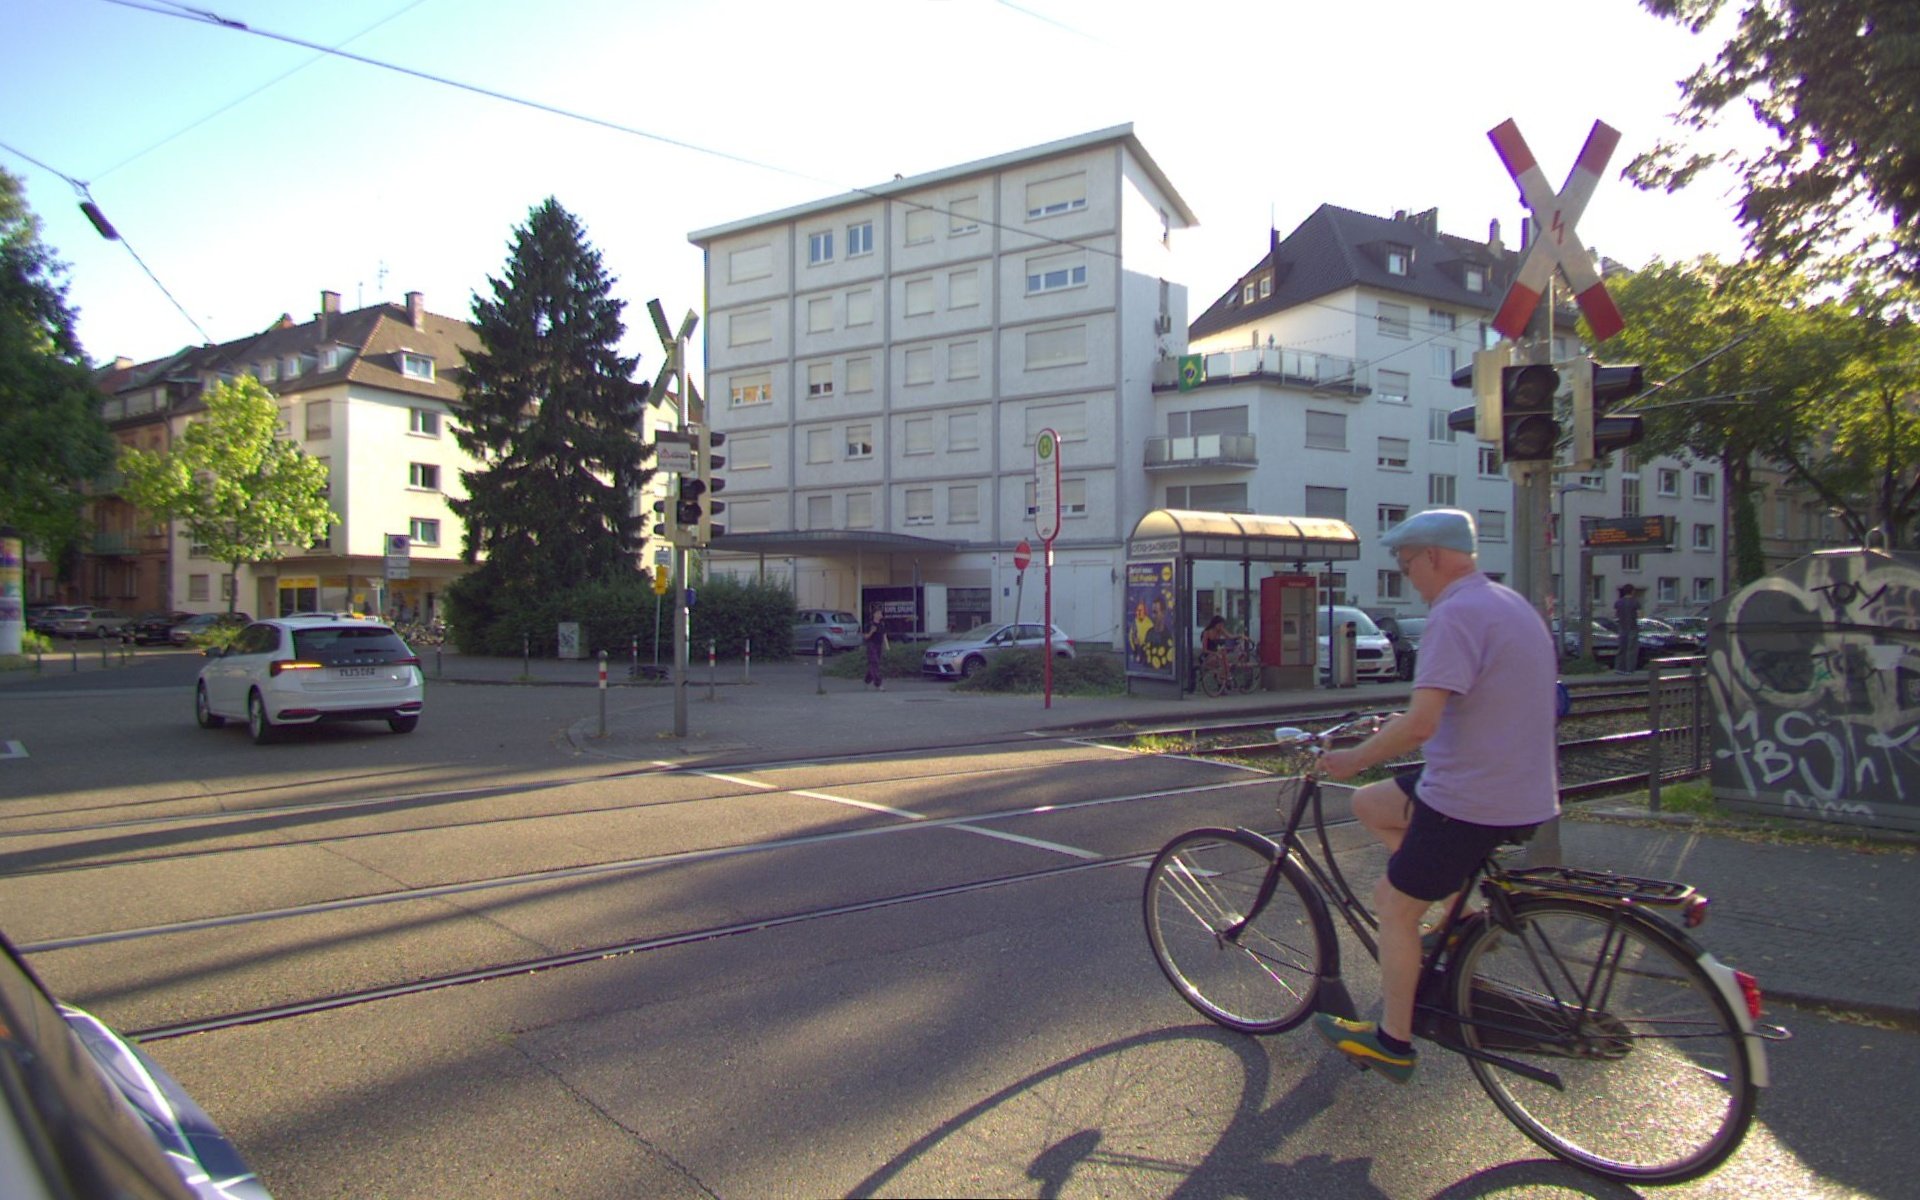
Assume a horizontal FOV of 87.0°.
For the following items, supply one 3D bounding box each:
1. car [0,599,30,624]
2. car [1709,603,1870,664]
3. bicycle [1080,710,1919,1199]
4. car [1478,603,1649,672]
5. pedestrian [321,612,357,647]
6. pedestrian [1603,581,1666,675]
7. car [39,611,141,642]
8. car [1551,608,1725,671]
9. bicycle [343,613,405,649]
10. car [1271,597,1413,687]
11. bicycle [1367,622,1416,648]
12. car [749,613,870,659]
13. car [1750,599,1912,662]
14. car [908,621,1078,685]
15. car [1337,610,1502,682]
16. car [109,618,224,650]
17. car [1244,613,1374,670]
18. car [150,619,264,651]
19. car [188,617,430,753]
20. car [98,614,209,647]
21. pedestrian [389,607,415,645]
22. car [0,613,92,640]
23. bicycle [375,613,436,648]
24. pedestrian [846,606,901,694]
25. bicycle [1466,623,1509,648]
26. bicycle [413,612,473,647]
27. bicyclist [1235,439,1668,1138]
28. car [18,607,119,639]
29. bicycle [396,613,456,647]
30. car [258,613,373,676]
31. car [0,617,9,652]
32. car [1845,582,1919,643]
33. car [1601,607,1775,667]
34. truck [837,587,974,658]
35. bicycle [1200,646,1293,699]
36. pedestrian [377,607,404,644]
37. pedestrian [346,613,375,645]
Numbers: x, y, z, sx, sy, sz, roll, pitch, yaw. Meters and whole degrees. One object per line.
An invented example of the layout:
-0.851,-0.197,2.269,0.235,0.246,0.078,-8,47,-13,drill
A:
-57.182,0.681,59.240,1.847,1.410,3.999,0,-1,0,car
25.348,1.100,31.140,1.837,1.664,4.228,-3,-4,9,car
1.330,0.953,2.937,0.689,1.062,2.128,0,-1,-36,bicycle
15.152,1.025,25.717,1.584,1.519,4.242,-2,-4,-2,car
-30.477,1.439,49.667,0.960,1.679,1.203,-1,-1,30,pedestrian
14.167,0.580,21.263,0.824,1.925,0.853,0,-1,-36,pedestrian
-44.680,1.324,52.104,1.847,1.516,3.999,0,-1,0,car
18.010,1.124,27.171,1.584,1.470,4.242,-2,-4,-2,car
-25.204,1.295,43.517,3.369,1.456,0.871,0,-1,33,bicycle
7.928,0.951,21.442,1.587,1.665,4.235,-2,-4,4,car
17.585,1.413,41.225,2.138,1.011,0.535,0,-1,-26,bicycle
-5.360,1.260,36.040,3.988,1.544,1.977,-1,-1,33,car
27.545,1.026,32.221,1.837,1.762,4.228,-3,-4,9,car
0.844,1.283,25.385,3.932,1.457,1.721,0,-2,-31,car
10.361,1.121,23.203,1.676,1.448,4.207,-2,-4,-2,car
-36.881,1.537,47.150,1.854,1.410,3.984,-1,-1,12,car
11.274,1.315,32.636,3.931,1.686,1.721,0,-2,-29,car
-34.508,1.573,46.520,1.854,1.410,3.984,-1,-1,12,car
-8.448,0.969,12.996,4.062,1.468,1.683,-2,-1,43,car
-39.300,1.460,49.430,1.856,1.580,3.981,-1,-1,15,car
-28.362,1.307,51.457,0.848,1.889,0.882,-1,-1,30,pedestrian
-49.915,1.399,55.145,1.847,1.410,3.999,0,-1,0,car
-24.468,1.322,44.623,3.369,1.456,0.871,0,-1,33,bicycle
-1.763,0.994,20.621,0.855,1.749,0.833,0,0,-27,pedestrian
23.203,1.553,44.478,2.138,1.011,0.535,0,-1,-27,bicycle
-23.908,1.336,46.773,3.369,1.456,0.871,2,0,33,bicycle
1.364,0.434,2.882,0.689,1.600,0.876,0,-1,-36,bicyclist
-47.350,1.195,53.859,1.847,1.648,3.999,0,-1,0,car
-24.110,1.333,45.668,3.369,1.456,0.871,0,-1,33,bicycle
-16.763,1.100,26.525,1.890,1.461,4.310,-1,0,-24,car
-40.259,1.396,40.783,3.985,1.410,1.854,-1,-1,31,car
47.621,0.629,50.852,5.386,2.909,2.569,0,-2,-24,car
20.173,1.091,28.310,1.584,1.470,4.242,-2,-4,-2,car
-2.108,0.837,38.515,4.952,2.554,1.980,-1,-1,30,truck
4.748,1.181,16.728,1.614,0.789,0.452,0,-1,-28,bicycle
-29.125,1.288,51.767,0.848,1.889,0.882,-1,-1,30,pedestrian
-30.224,1.467,51.027,0.888,1.581,0.954,-1,-1,31,pedestrian
